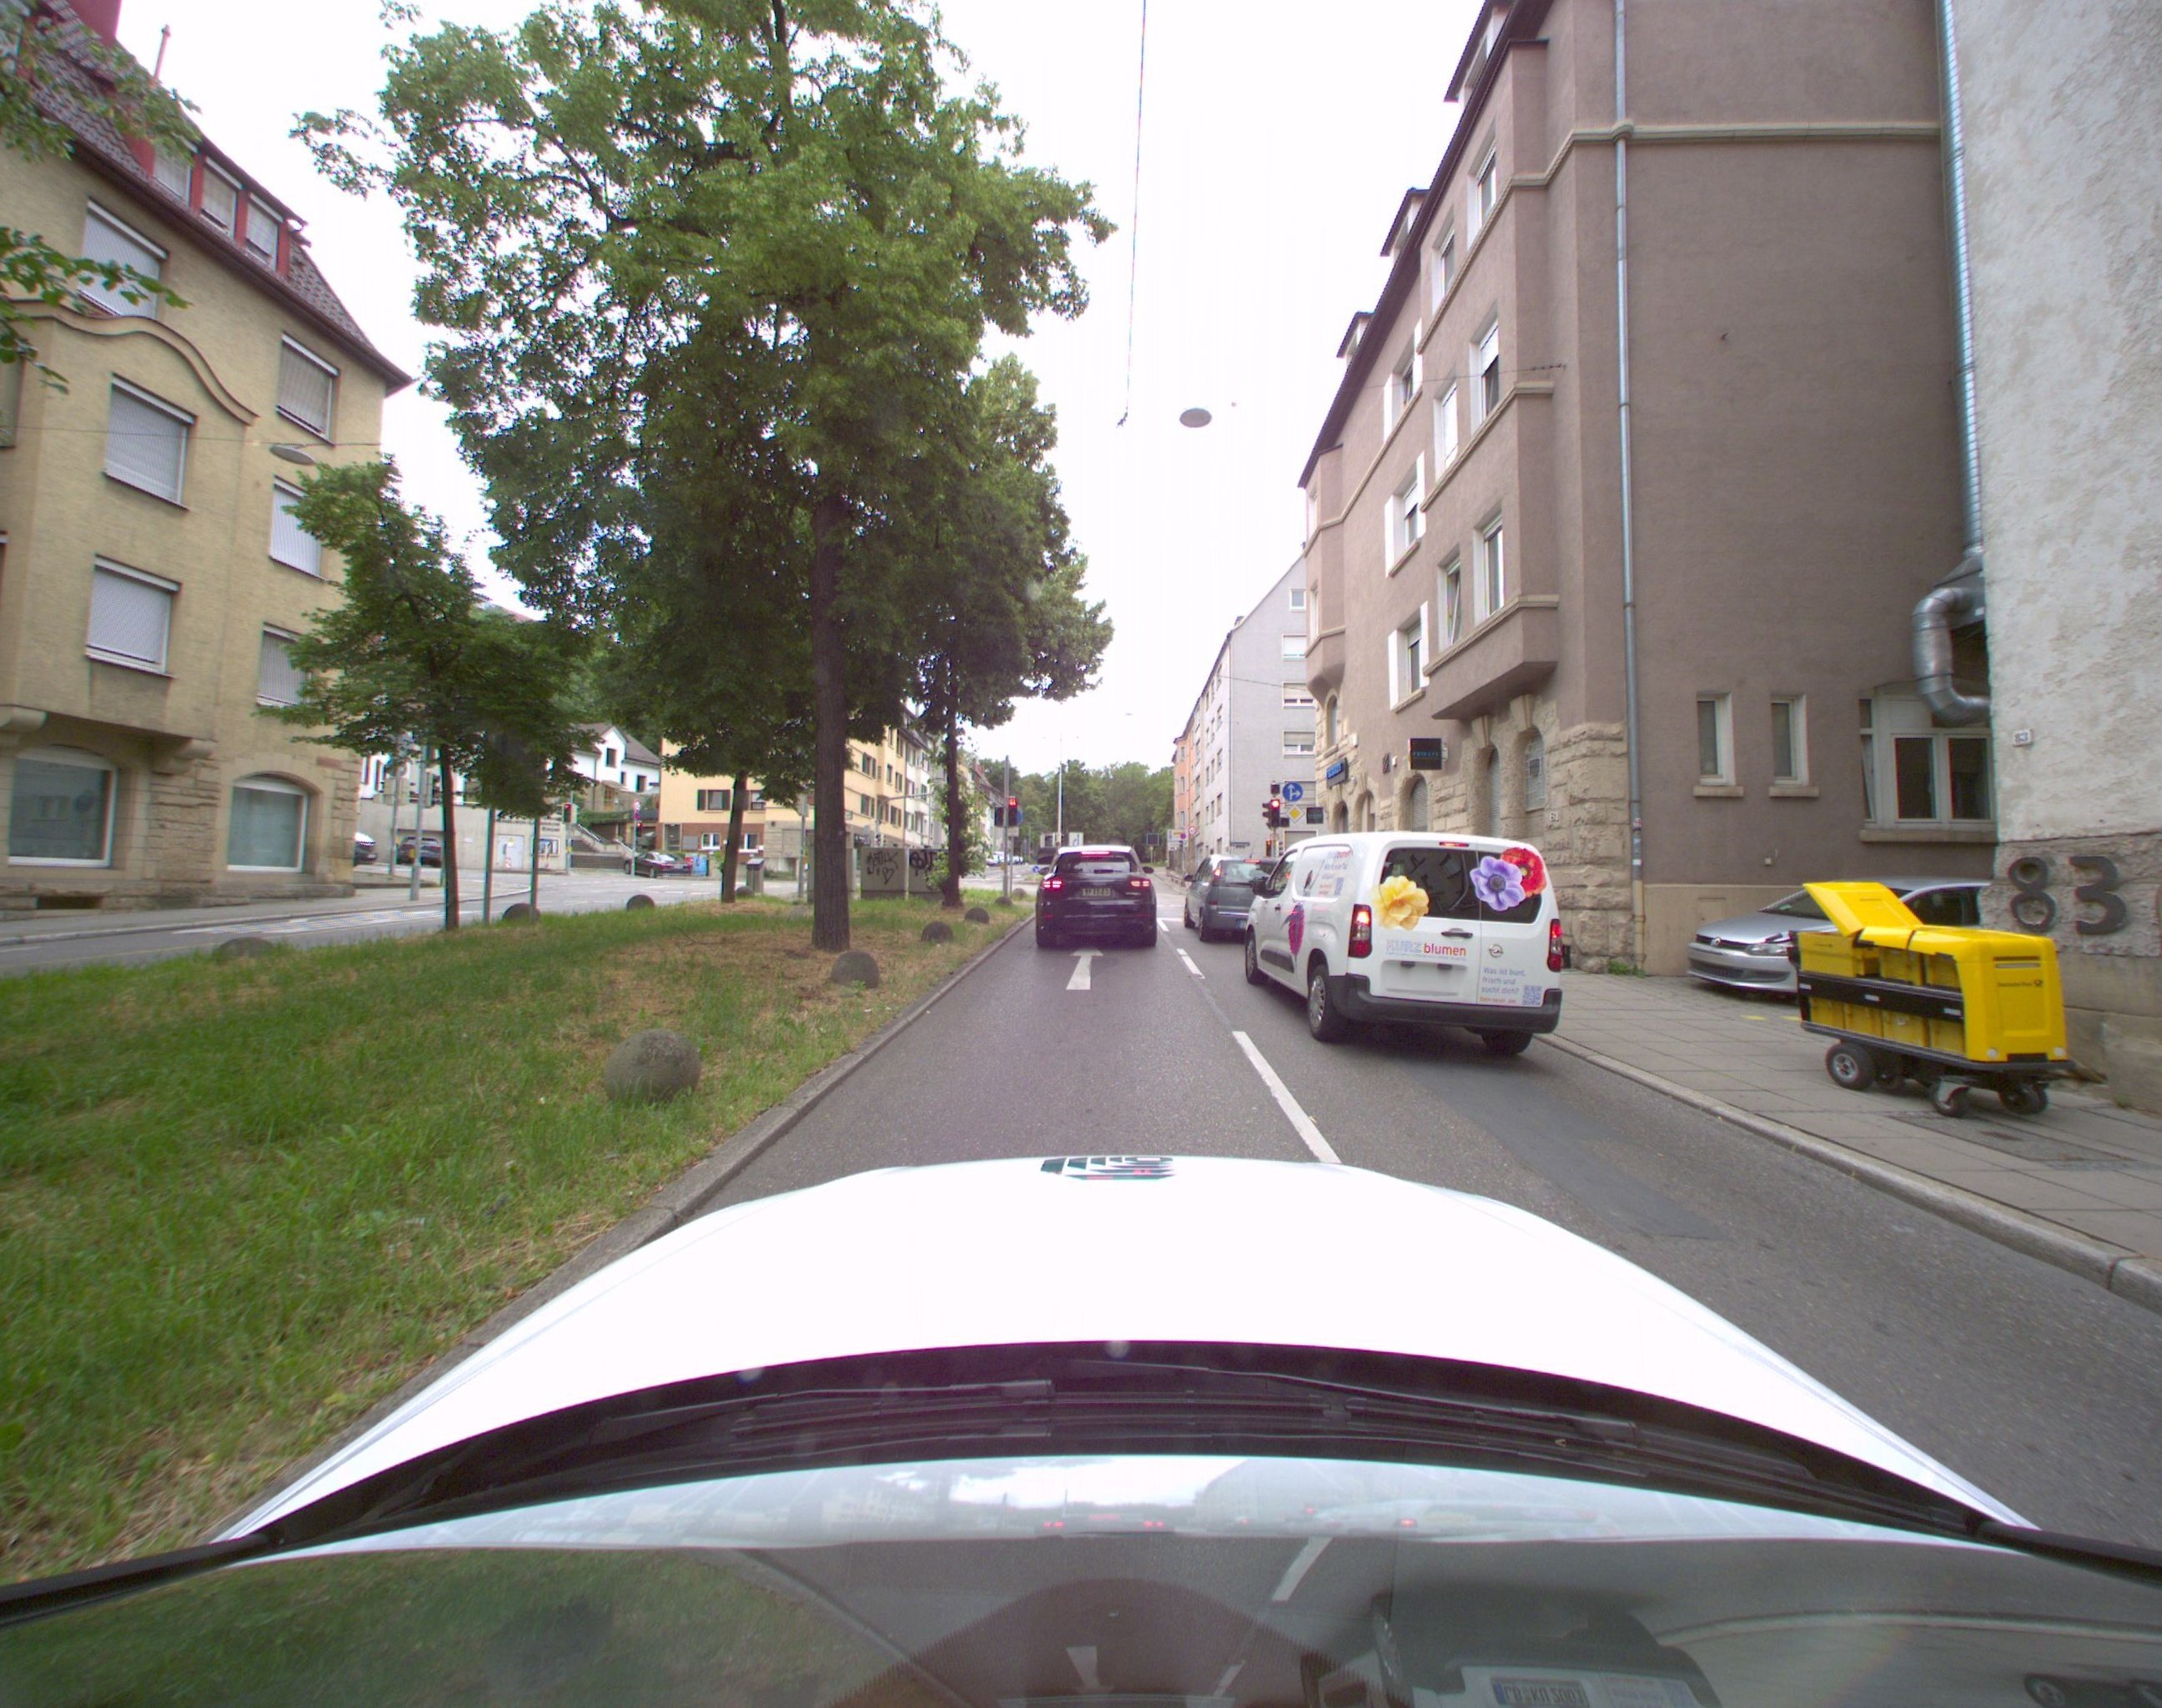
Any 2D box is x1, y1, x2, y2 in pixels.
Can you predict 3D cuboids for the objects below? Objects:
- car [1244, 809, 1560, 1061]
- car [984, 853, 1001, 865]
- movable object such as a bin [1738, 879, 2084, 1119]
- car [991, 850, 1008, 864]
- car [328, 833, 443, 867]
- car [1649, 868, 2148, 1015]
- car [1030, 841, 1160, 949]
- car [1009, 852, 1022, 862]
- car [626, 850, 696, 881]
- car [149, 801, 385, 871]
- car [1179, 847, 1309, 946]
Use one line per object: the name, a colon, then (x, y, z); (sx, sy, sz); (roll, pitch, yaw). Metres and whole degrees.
car: (2.906, 0.659, 8.642); (1.840, 1.825, 5.028); (1, -1, 6)
car: (-11.573, 0.586, 106.758); (1.788, 1.510, 4.001); (1, 0, 1)
movable object such as a bin: (5.725, 0.906, 5.800); (0.717, 1.421, 1.693); (0, -1, 0)
car: (-11.207, 0.406, 111.779); (1.788, 1.810, 4.001); (1, 0, 1)
car: (-32.597, -0.180, 38.255); (4.021, 1.510, 1.779); (1, 0, -42)
car: (9.312, 0.942, 9.576); (3.971, 1.403, 1.802); (1, 2, 2)
car: (0.323, 0.617, 14.495); (1.986, 1.653, 4.003); (0, 0, 3)
car: (-10.746, 0.494, 133.296); (1.788, 1.510, 4.001); (1, 0, 1)
car: (-23.997, 0.667, 46.486); (3.948, 1.665, 1.894); (-1, -2, 35)
car: (-27.307, -0.558, 27.588); (5.187, 2.064, 1.981); (2, -1, -21)
car: (3.001, 0.716, 15.737); (1.746, 1.593, 3.631); (3, 1, 0)
